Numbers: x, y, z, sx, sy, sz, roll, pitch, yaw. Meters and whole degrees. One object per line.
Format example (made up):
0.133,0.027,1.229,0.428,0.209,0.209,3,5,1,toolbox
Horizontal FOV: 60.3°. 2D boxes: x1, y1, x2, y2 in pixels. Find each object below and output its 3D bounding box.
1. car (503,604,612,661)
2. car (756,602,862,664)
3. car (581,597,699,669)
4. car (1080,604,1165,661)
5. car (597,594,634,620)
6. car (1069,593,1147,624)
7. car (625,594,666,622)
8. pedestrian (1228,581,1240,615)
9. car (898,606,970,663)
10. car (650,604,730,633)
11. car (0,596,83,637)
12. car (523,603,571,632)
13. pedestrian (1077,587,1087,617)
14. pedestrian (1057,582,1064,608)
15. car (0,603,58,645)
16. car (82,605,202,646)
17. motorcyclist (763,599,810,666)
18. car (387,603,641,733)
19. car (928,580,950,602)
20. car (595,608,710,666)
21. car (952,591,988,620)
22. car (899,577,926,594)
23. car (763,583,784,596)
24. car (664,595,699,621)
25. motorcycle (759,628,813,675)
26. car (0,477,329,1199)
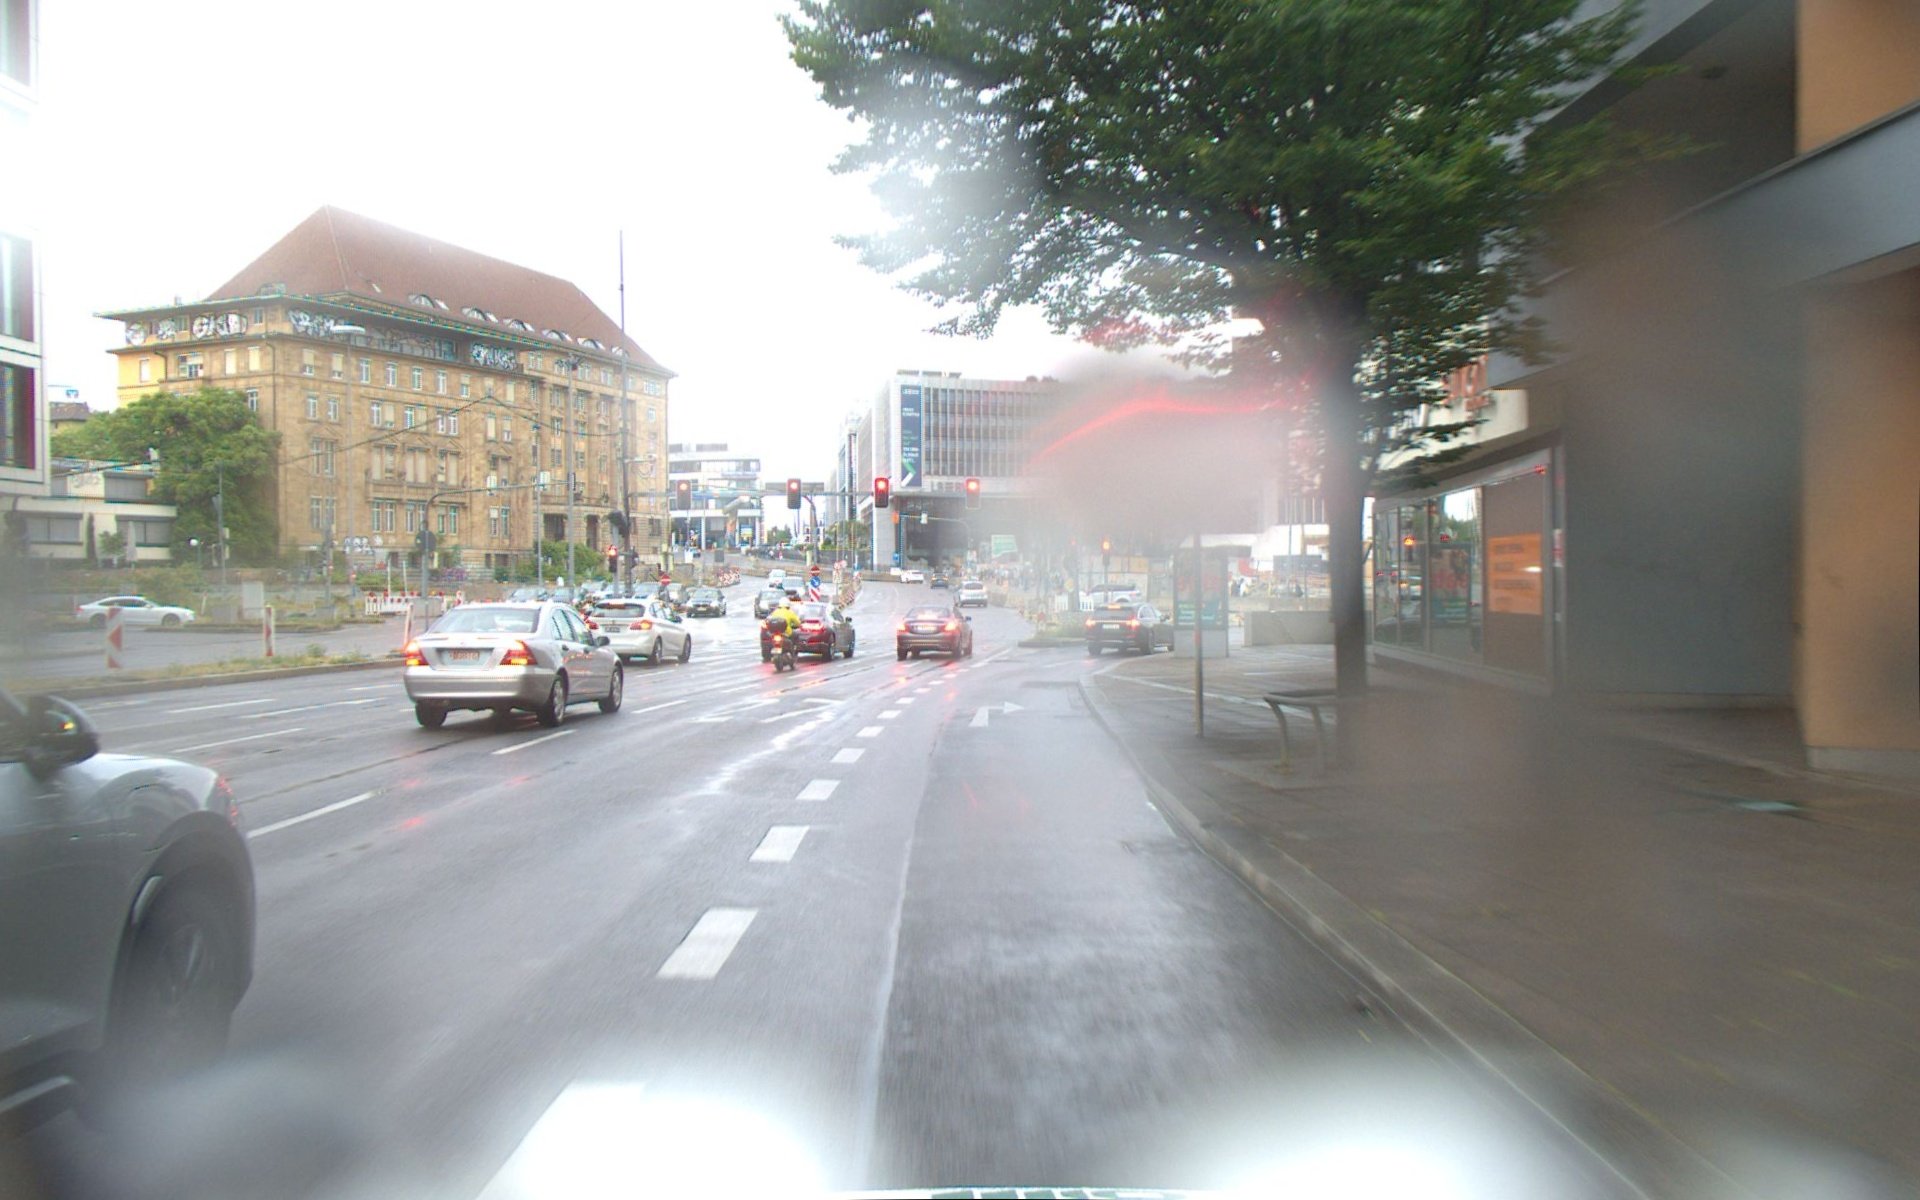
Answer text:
-10.480,0.844,43.344,1.746,1.397,3.994,1,-1,2,car
-3.989,0.870,44.589,1.847,1.541,5.005,1,-1,6,car
-7.800,0.802,40.646,1.696,1.644,4.003,1,-1,7,car
4.805,0.944,48.476,1.851,1.571,3.996,0,-1,14,car
-21.710,0.461,104.312,1.663,1.601,3.998,1,-1,-2,car
8.321,0.492,92.854,3.906,1.669,1.999,0,-1,23,car
-18.698,0.502,98.517,1.765,1.601,4.072,1,-1,-2,car
15.887,-0.107,95.937,0.565,1.931,0.361,0,-1,38,pedestrian
-0.683,0.934,46.590,1.746,1.427,4.488,1,1,2,car
-14.572,0.999,89.277,4.029,1.533,1.993,0,-1,35,car
-48.426,0.863,86.566,4.149,2.049,1.989,1,-1,-20,car
-22.836,0.952,91.585,1.663,1.545,3.874,-2,0,0,car
8.090,0.141,109.532,0.358,1.931,0.569,1,-1,-34,pedestrian
7.432,-0.373,122.359,0.355,1.931,0.574,1,-1,-13,pedestrian
-37.887,0.926,65.297,3.902,1.624,1.676,0,-1,16,car
-35.324,1.102,71.545,4.311,1.691,1.991,1,-1,-17,car
-3.980,0.739,37.989,0.922,1.501,1.100,1,-1,1,motorcyclist
-5.400,0.791,20.635,1.696,1.428,4.385,1,-1,4,car
-2.021,-0.845,161.895,1.954,2.049,3.997,1,-1,-3,car
-9.148,1.094,49.529,1.745,1.628,4.075,0,-1,15,car
0.626,0.316,105.855,1.696,1.668,3.428,1,3,-9,car
-5.572,-1.706,193.636,1.964,1.848,3.976,1,-1,-20,car
-19.542,-1.072,173.365,1.731,1.282,4.193,1,-1,0,car
-17.936,0.528,106.580,1.663,1.601,3.998,1,-1,-2,car
-3.972,1.165,37.929,0.922,1.006,2.294,1,0,1,motorcycle
-2.937,0.569,3.291,1.771,1.690,4.170,1,-1,-1,car
